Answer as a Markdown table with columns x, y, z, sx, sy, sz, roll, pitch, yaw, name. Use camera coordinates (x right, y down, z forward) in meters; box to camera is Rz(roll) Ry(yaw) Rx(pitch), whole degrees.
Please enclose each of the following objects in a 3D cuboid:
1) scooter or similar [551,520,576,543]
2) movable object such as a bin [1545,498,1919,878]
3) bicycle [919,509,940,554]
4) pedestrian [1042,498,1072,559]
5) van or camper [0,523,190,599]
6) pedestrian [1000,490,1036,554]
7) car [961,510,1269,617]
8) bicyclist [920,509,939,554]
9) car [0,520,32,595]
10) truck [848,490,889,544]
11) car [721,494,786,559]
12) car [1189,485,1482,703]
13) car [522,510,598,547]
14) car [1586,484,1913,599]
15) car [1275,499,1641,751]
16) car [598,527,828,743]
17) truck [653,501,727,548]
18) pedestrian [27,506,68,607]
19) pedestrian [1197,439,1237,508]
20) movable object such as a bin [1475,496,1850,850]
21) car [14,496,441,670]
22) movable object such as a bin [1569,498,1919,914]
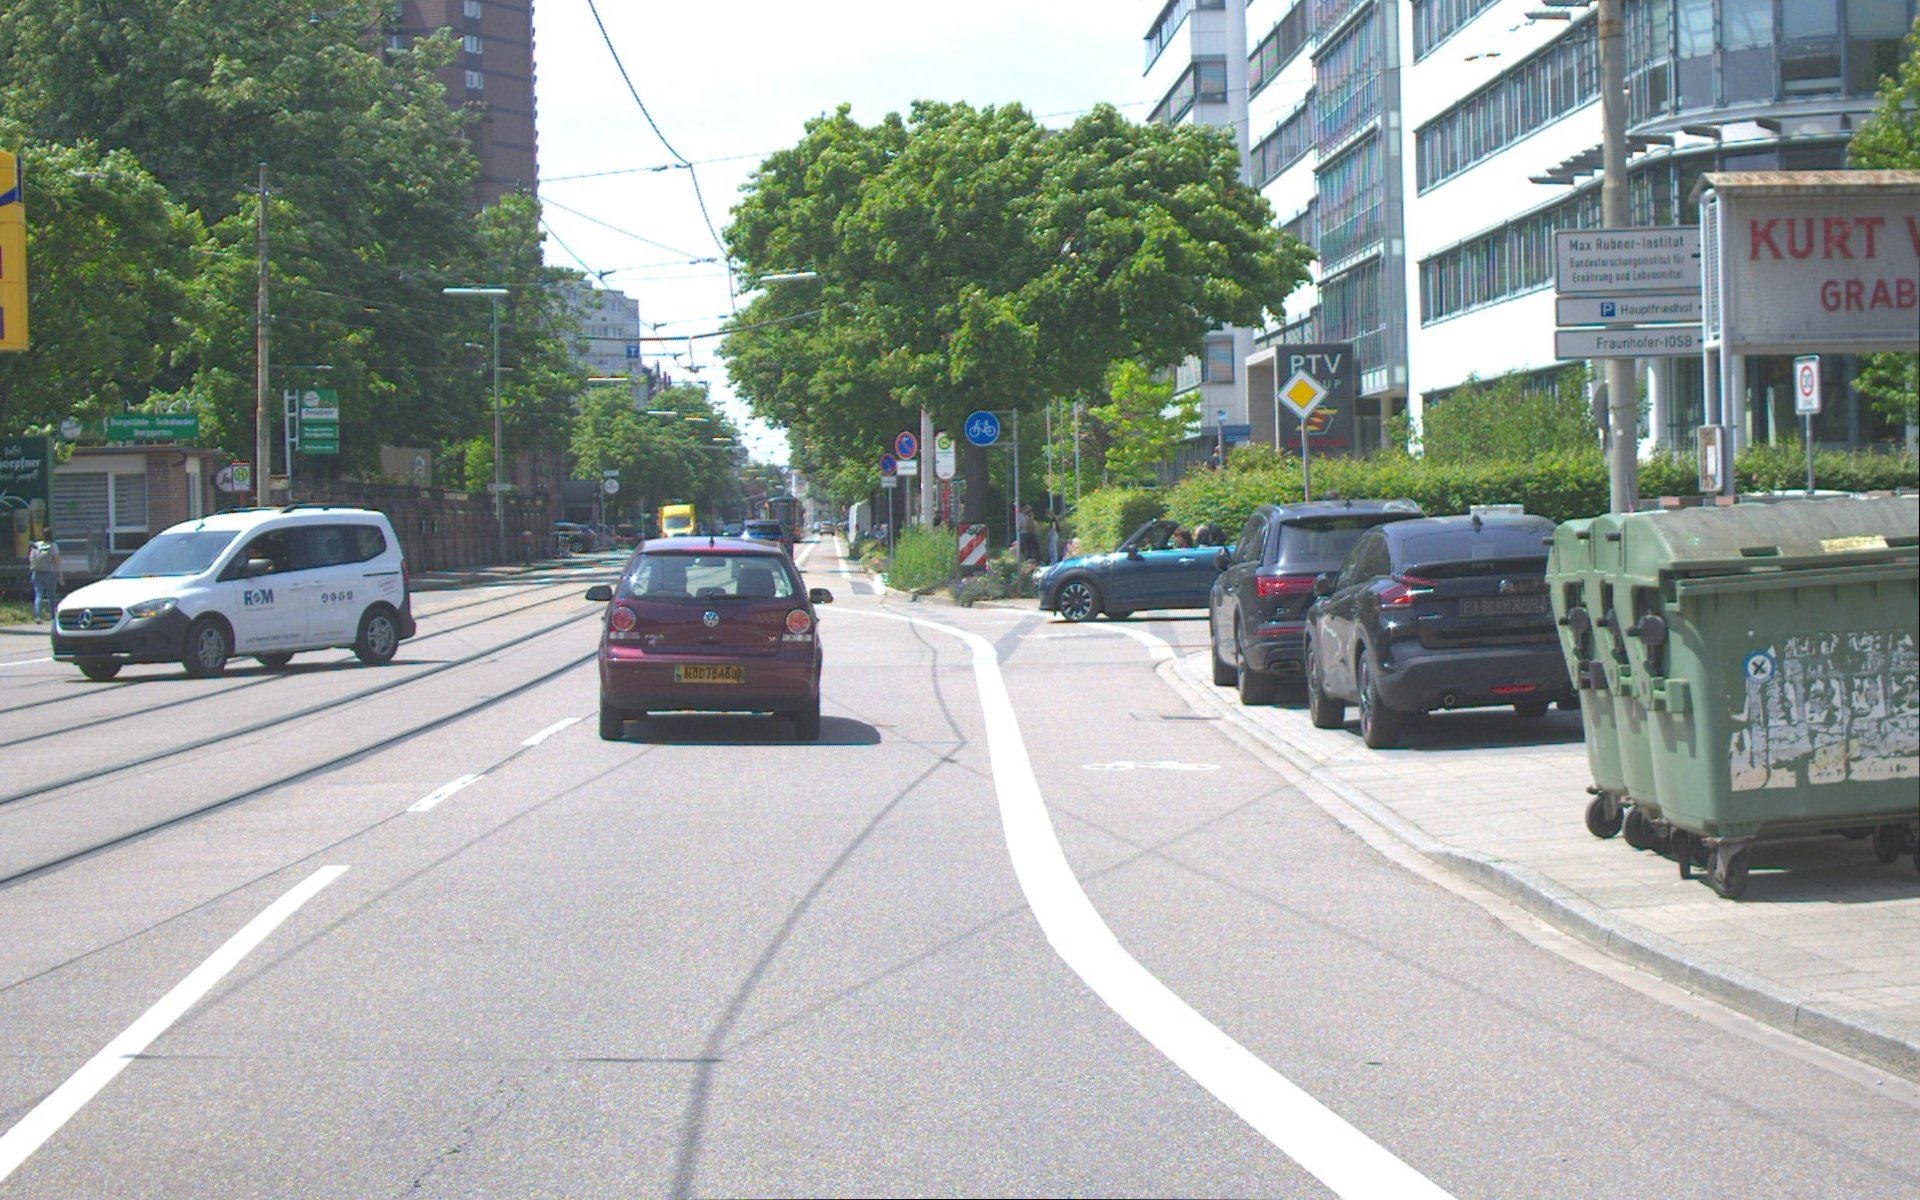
| x | y | z | sx | sy | sz | roll | pitch | yaw | name |
| --- | --- | --- | --- | --- | --- | --- | --- | --- | --- |
| -19.235 | -3.324 | 166.866 | 1.088 | 1.151 | 0.527 | -1 | 2 | -23 | scooter or similar |
| 3.231 | 0.341 | 14.359 | 1.247 | 1.450 | 1.058 | -4 | 2 | -5 | movable object such as a bin |
| -1.233 | -2.769 | 139.432 | 0.690 | 1.779 | 1.811 | -3 | 1 | 1 | bicycle |
| 2.787 | -2.060 | 98.809 | 0.537 | 1.709 | 0.565 | -3 | 1 | -31 | pedestrian |
| -19.237 | -0.880 | 76.537 | 3.784 | 1.623 | 1.872 | 0 | 2 | -2 | van or camper |
| 1.661 | -2.242 | 98.950 | 0.677 | 1.790 | 0.674 | -4 | 2 | -33 | pedestrian |
| 2.158 | -0.509 | 47.912 | 3.918 | 1.367 | 1.701 | -1 | 1 | 23 | car |
| -1.237 | -2.778 | 139.422 | 0.696 | 1.793 | 0.888 | -3 | 1 | 1 | bicyclist |
| -20.853 | -0.832 | 68.182 | 1.933 | 1.483 | 4.441 | 1 | 2 | 38 | car |
| -4.571 | -4.150 | 170.798 | 1.993 | 2.652 | 4.876 | 0 | 2 | -2 | truck |
| -6.498 | -2.310 | 107.863 | 1.993 | 2.006 | 4.001 | 0 | 2 | -4 | car |
| 3.262 | -0.119 | 30.834 | 1.924 | 1.687 | 5.082 | -3 | 2 | -1 | car |
| -22.529 | -4.024 | 193.783 | 3.987 | 2.007 | 2.000 | -1 | 1 | 2 | car |
| 10.994 | -0.827 | 48.058 | 4.148 | 1.454 | 1.818 | -2 | 2 | 2 | car |
| 3.441 | 0.124 | 24.568 | 1.772 | 1.543 | 4.468 | -3 | 1 | -2 | car |
| -1.937 | 0.205 | 26.180 | 1.619 | 1.481 | 4.001 | 0 | 2 | -6 | car |
| -16.630 | -4.692 | 212.348 | 2.371 | 2.777 | 7.315 | -1 | 1 | 13 | truck |
| -16.033 | -0.765 | 60.410 | 0.580 | 1.769 | 0.700 | 0 | 2 | -5 | pedestrian |
| 6.593 | -3.236 | 88.127 | 0.874 | 1.709 | 1.089 | -3 | 1 | 7 | pedestrian |
| 3.126 | 0.300 | 15.425 | 1.323 | 1.450 | 1.058 | -4 | 2 | -5 | movable object such as a bin |
| -8.157 | -0.234 | 38.673 | 1.997 | 1.793 | 4.544 | 0 | 2 | 34 | car |
| 3.219 | 0.372 | 13.244 | 1.391 | 1.450 | 1.139 | -4 | 2 | -5 | movable object such as a bin |
